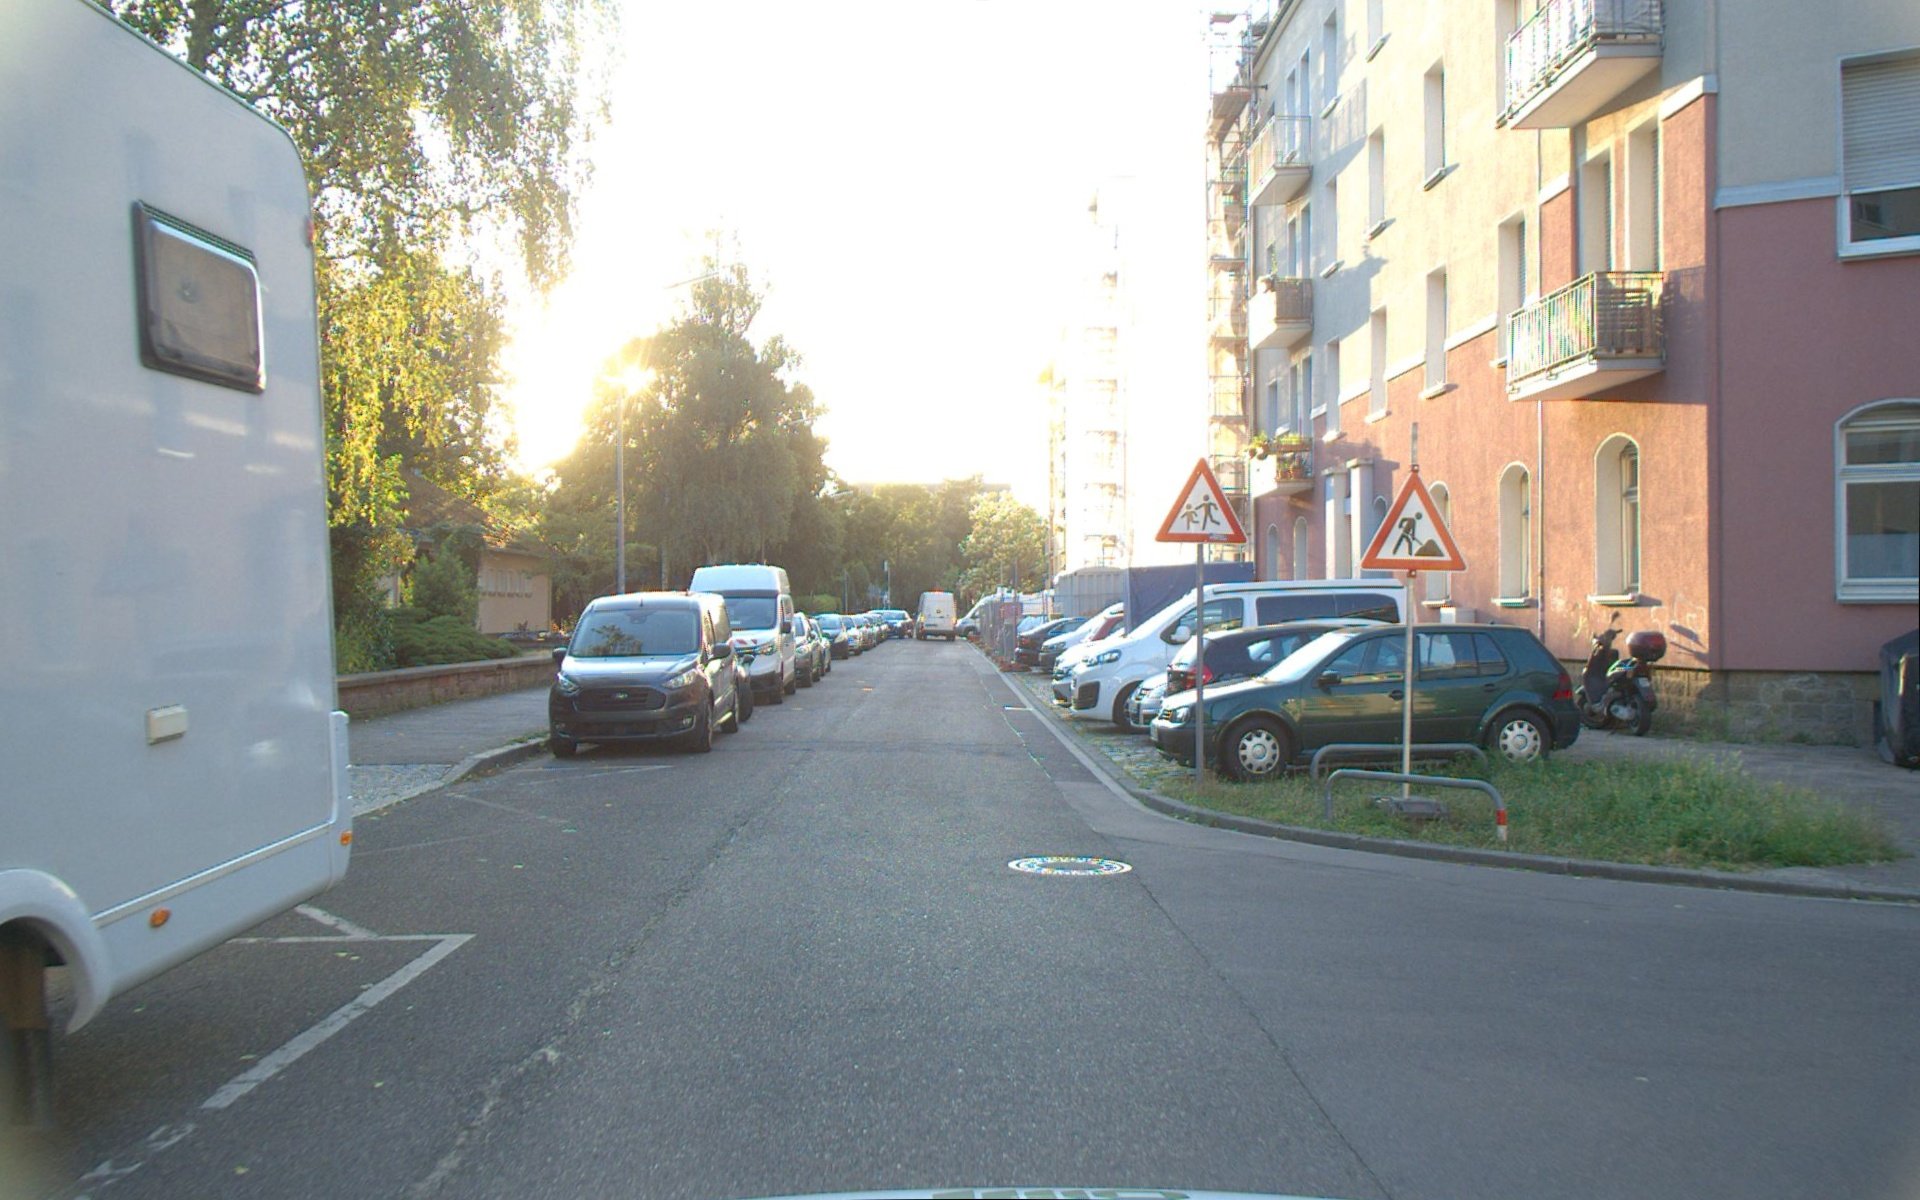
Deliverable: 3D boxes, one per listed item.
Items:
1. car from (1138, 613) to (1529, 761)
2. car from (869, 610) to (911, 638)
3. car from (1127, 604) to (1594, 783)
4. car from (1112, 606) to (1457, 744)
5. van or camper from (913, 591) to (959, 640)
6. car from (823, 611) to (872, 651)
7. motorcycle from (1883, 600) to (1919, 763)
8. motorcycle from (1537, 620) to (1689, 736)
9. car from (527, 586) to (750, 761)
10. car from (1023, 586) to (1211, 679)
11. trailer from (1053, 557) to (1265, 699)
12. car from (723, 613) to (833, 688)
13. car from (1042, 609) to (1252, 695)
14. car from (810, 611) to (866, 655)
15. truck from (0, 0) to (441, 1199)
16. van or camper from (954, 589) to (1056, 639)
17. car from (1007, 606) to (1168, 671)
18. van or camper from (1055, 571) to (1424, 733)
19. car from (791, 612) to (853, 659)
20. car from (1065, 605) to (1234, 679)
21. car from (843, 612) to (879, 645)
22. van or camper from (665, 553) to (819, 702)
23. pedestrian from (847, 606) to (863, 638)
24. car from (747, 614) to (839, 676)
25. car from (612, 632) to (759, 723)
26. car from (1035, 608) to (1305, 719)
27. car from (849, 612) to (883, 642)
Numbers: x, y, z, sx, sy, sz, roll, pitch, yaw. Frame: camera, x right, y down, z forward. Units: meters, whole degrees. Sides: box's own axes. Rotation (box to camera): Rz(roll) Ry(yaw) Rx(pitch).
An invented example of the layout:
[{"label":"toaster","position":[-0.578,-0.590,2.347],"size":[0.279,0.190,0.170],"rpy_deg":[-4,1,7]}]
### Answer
[{"label":"car","position":[4.092,0.927,18.576],"size":[3.907,1.557,1.999],"rpy_deg":[0,0,-3]},{"label":"car","position":[-4.060,1.385,96.410],"size":[1.766,1.597,4.568],"rpy_deg":[0,-1,6]},{"label":"car","position":[3.756,0.850,15.965],"size":[4.021,1.613,1.853],"rpy_deg":[0,0,-4]},{"label":"car","position":[3.981,0.899,20.767],"size":[3.907,1.646,1.999],"rpy_deg":[0,0,-3]},{"label":"van or camper","position":[-1.360,0.882,92.864],"size":[2.404,2.591,6.082],"rpy_deg":[2,-1,-1]},{"label":"car","position":[-4.649,1.281,68.997],"size":[1.822,1.565,4.757],"rpy_deg":[-1,0,-2]},{"label":"motorcycle","position":[9.316,0.735,15.701],"size":[0.821,1.459,2.346],"rpy_deg":[0,0,33]},{"label":"motorcycle","position":[7.648,0.873,19.527],"size":[0.727,1.257,2.652],"rpy_deg":[0,0,-1]},{"label":"car","position":[-3.717,0.783,19.989],"size":[1.871,1.819,4.947],"rpy_deg":[-1,0,-2]},{"label":"car","position":[3.779,0.755,40.227],"size":[4.187,2.014,1.818],"rpy_deg":[-2,1,-9]},{"label":"trailer","position":[3.613,0.500,30.483],"size":[3.497,2.378,1.939],"rpy_deg":[-2,0,-4]},{"label":"car","position":[-3.969,1.063,36.825],"size":[1.953,1.545,4.788],"rpy_deg":[0,0,-1]},{"label":"car","position":[3.690,1.015,33.119],"size":[3.908,1.666,1.901],"rpy_deg":[0,0,-4]},{"label":"car","position":[-4.427,1.186,60.473],"size":[1.746,1.471,4.746],"rpy_deg":[-2,0,-2]},{"label":"truck","position":[-3.502,-0.193,2.977],"size":[2.474,3.412,8.017],"rpy_deg":[-3,0,0]},{"label":"van or camper","position":[2.623,0.826,97.338],"size":[5.809,2.818,2.109],"rpy_deg":[1,-1,-2]},{"label":"car","position":[3.287,0.980,43.105],"size":[4.068,1.644,1.872],"rpy_deg":[0,0,0]},{"label":"van or camper","position":[3.770,0.687,22.908],"size":[4.736,2.133,2.040],"rpy_deg":[0,0,-2]},{"label":"car","position":[-4.547,1.165,54.895],"size":[1.954,1.478,3.997],"rpy_deg":[1,0,-4]},{"label":"car","position":[4.316,0.949,37.989],"size":[3.618,1.638,1.744],"rpy_deg":[0,0,-3]},{"label":"car","position":[-4.778,1.370,80.042],"size":[1.569,1.456,3.802],"rpy_deg":[-3,0,-2]},{"label":"van or camper","position":[-3.930,0.475,30.929],"size":[1.952,2.500,6.084],"rpy_deg":[0,0,1]},{"label":"pedestrian","position":[-6.276,1.314,99.126],"size":[0.919,1.862,0.786],"rpy_deg":[1,-1,-2]},{"label":"car","position":[-4.218,1.108,42.436],"size":[1.953,1.478,4.287],"rpy_deg":[0,0,-1]},{"label":"car","position":[-4.065,1.119,25.091],"size":[1.955,1.210,4.031],"rpy_deg":[1,0,-6]},{"label":"car","position":[3.203,0.965,25.843],"size":[3.907,1.669,1.999],"rpy_deg":[0,-1,-3]},{"label":"car","position":[-4.899,1.394,86.447],"size":[1.681,1.522,4.358],"rpy_deg":[-1,0,-2]}]
